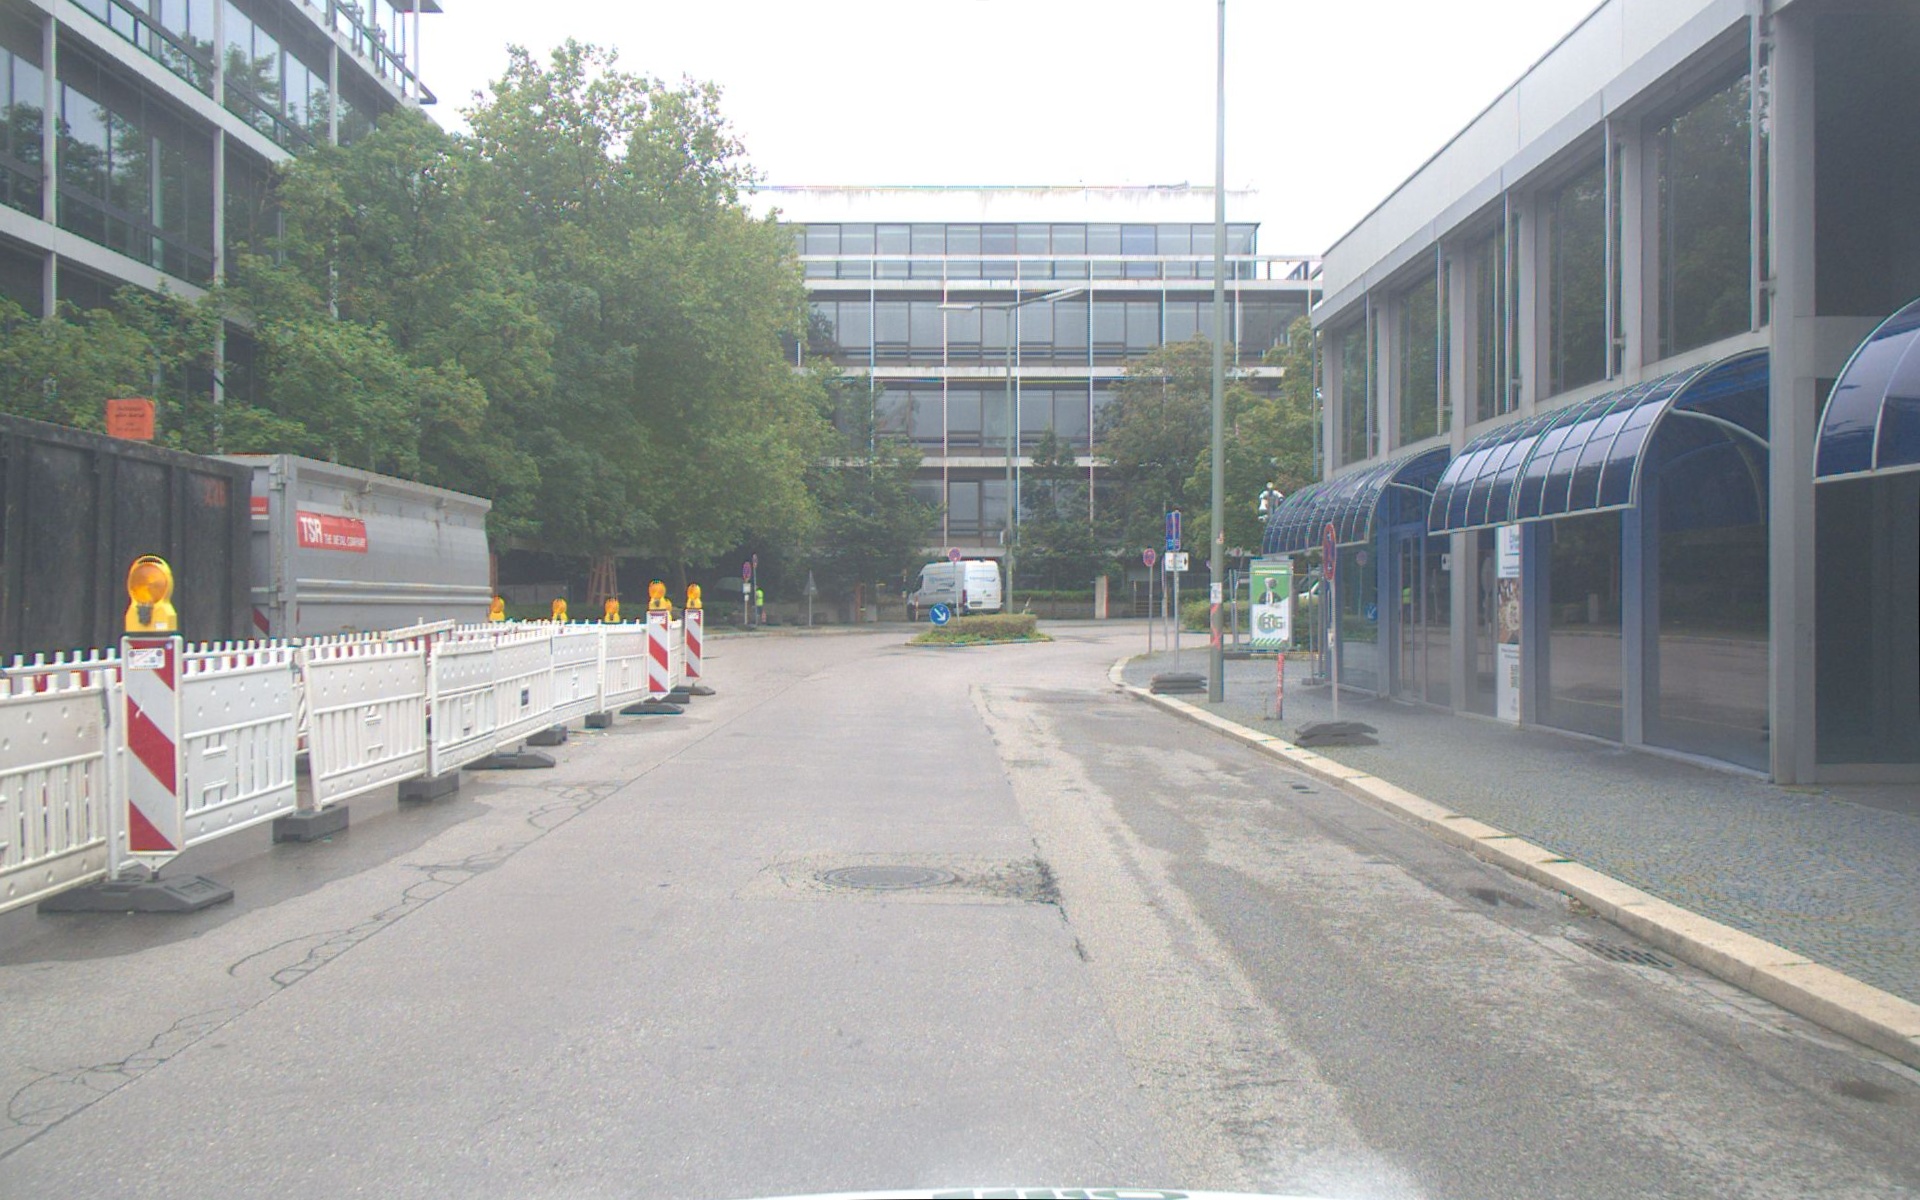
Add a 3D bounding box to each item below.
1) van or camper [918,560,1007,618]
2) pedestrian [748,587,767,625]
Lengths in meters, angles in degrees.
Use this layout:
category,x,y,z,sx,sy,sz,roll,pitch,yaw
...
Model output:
category,x,y,z,sx,sy,sz,roll,pitch,yaw
van or camper,0.057,-0.481,74.622,2.060,2.535,5.025,0,0,-26
pedestrian,-8.955,0.259,73.177,0.730,1.706,0.678,0,0,-20
